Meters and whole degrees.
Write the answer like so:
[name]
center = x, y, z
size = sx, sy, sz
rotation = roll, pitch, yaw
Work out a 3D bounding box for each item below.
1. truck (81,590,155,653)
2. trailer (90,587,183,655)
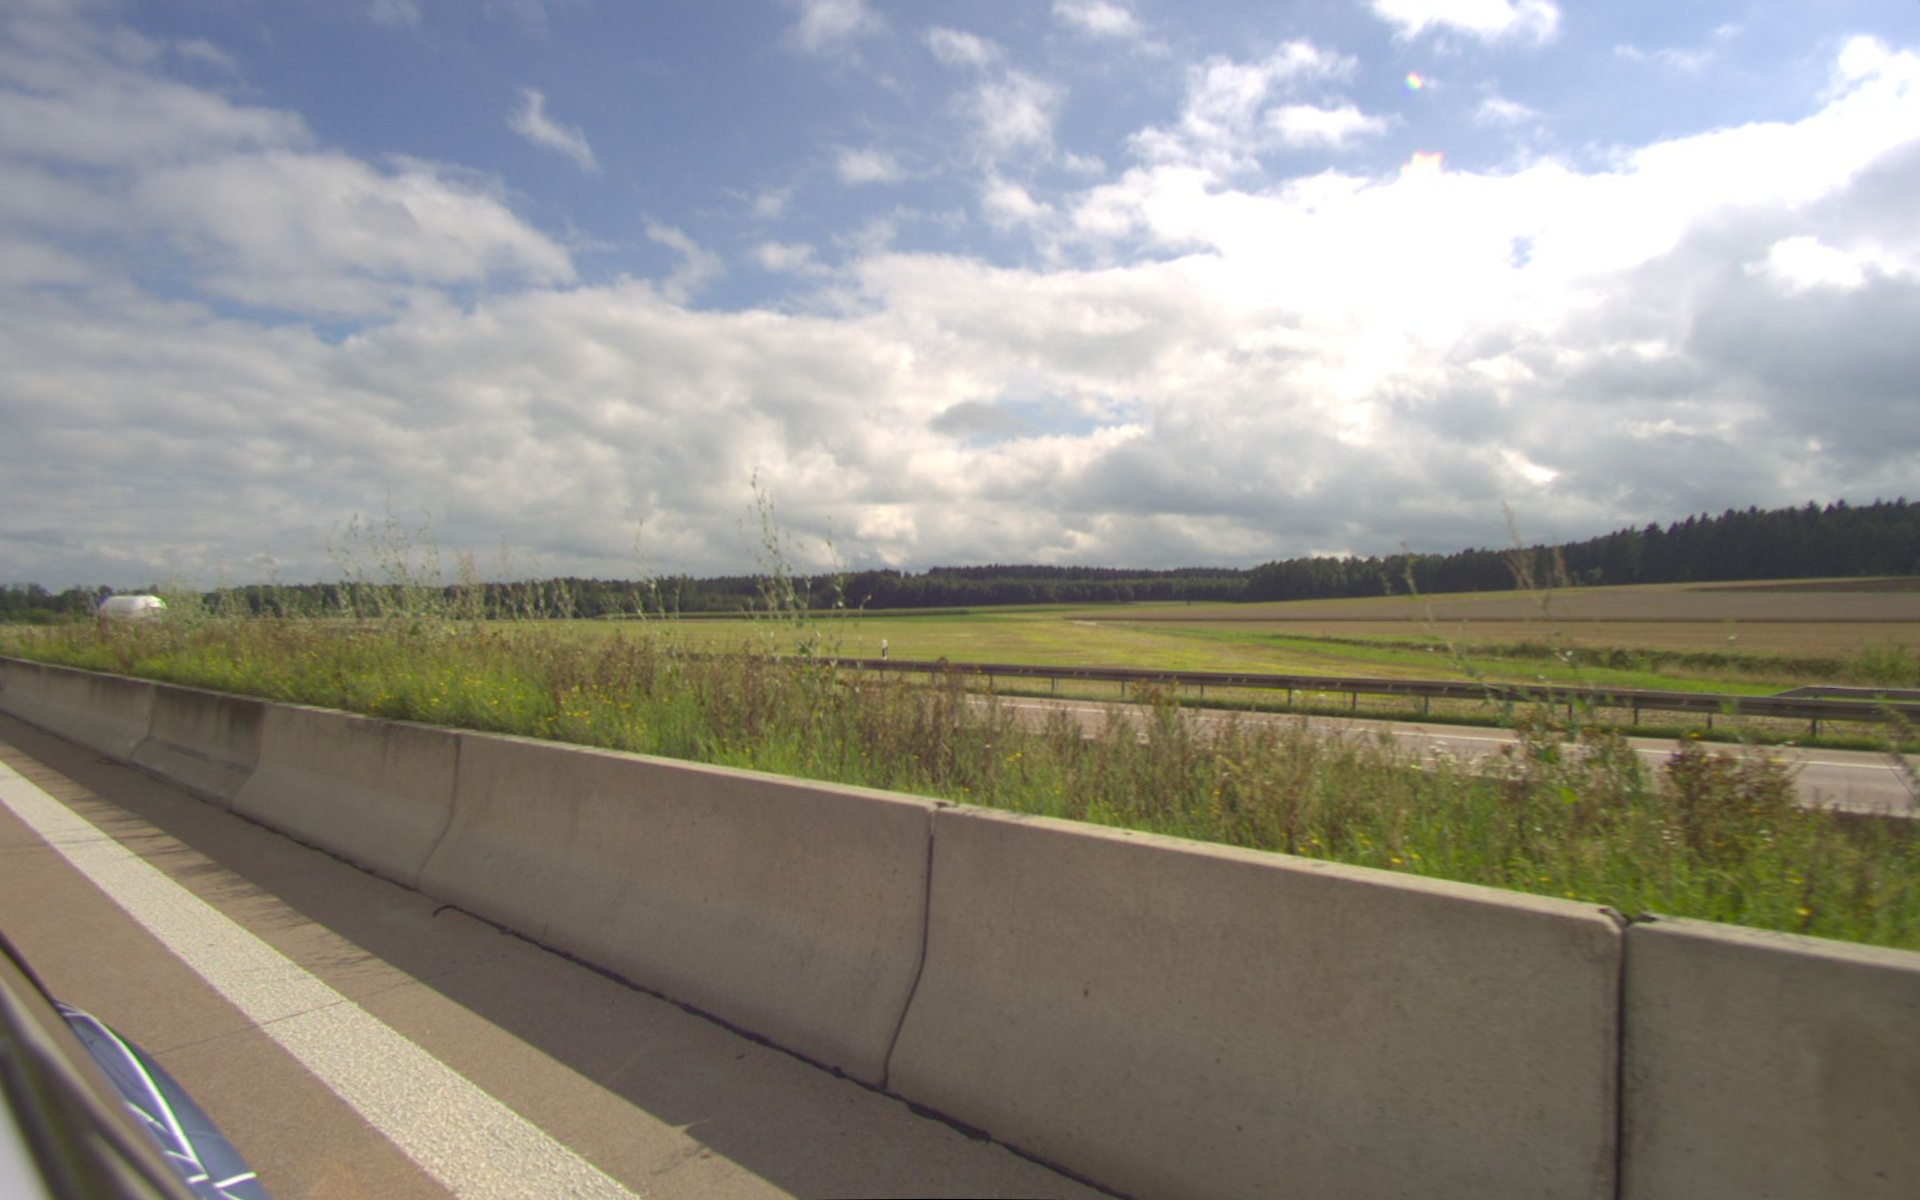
[truck]
center = -58.479, 1.554, 70.270
size = 6.332, 4.130, 2.861
rotation = -2, -3, 41
[trailer]
center = -54.224, 1.441, 66.509
size = 11.032, 4.130, 2.861
rotation = -2, -3, 41
